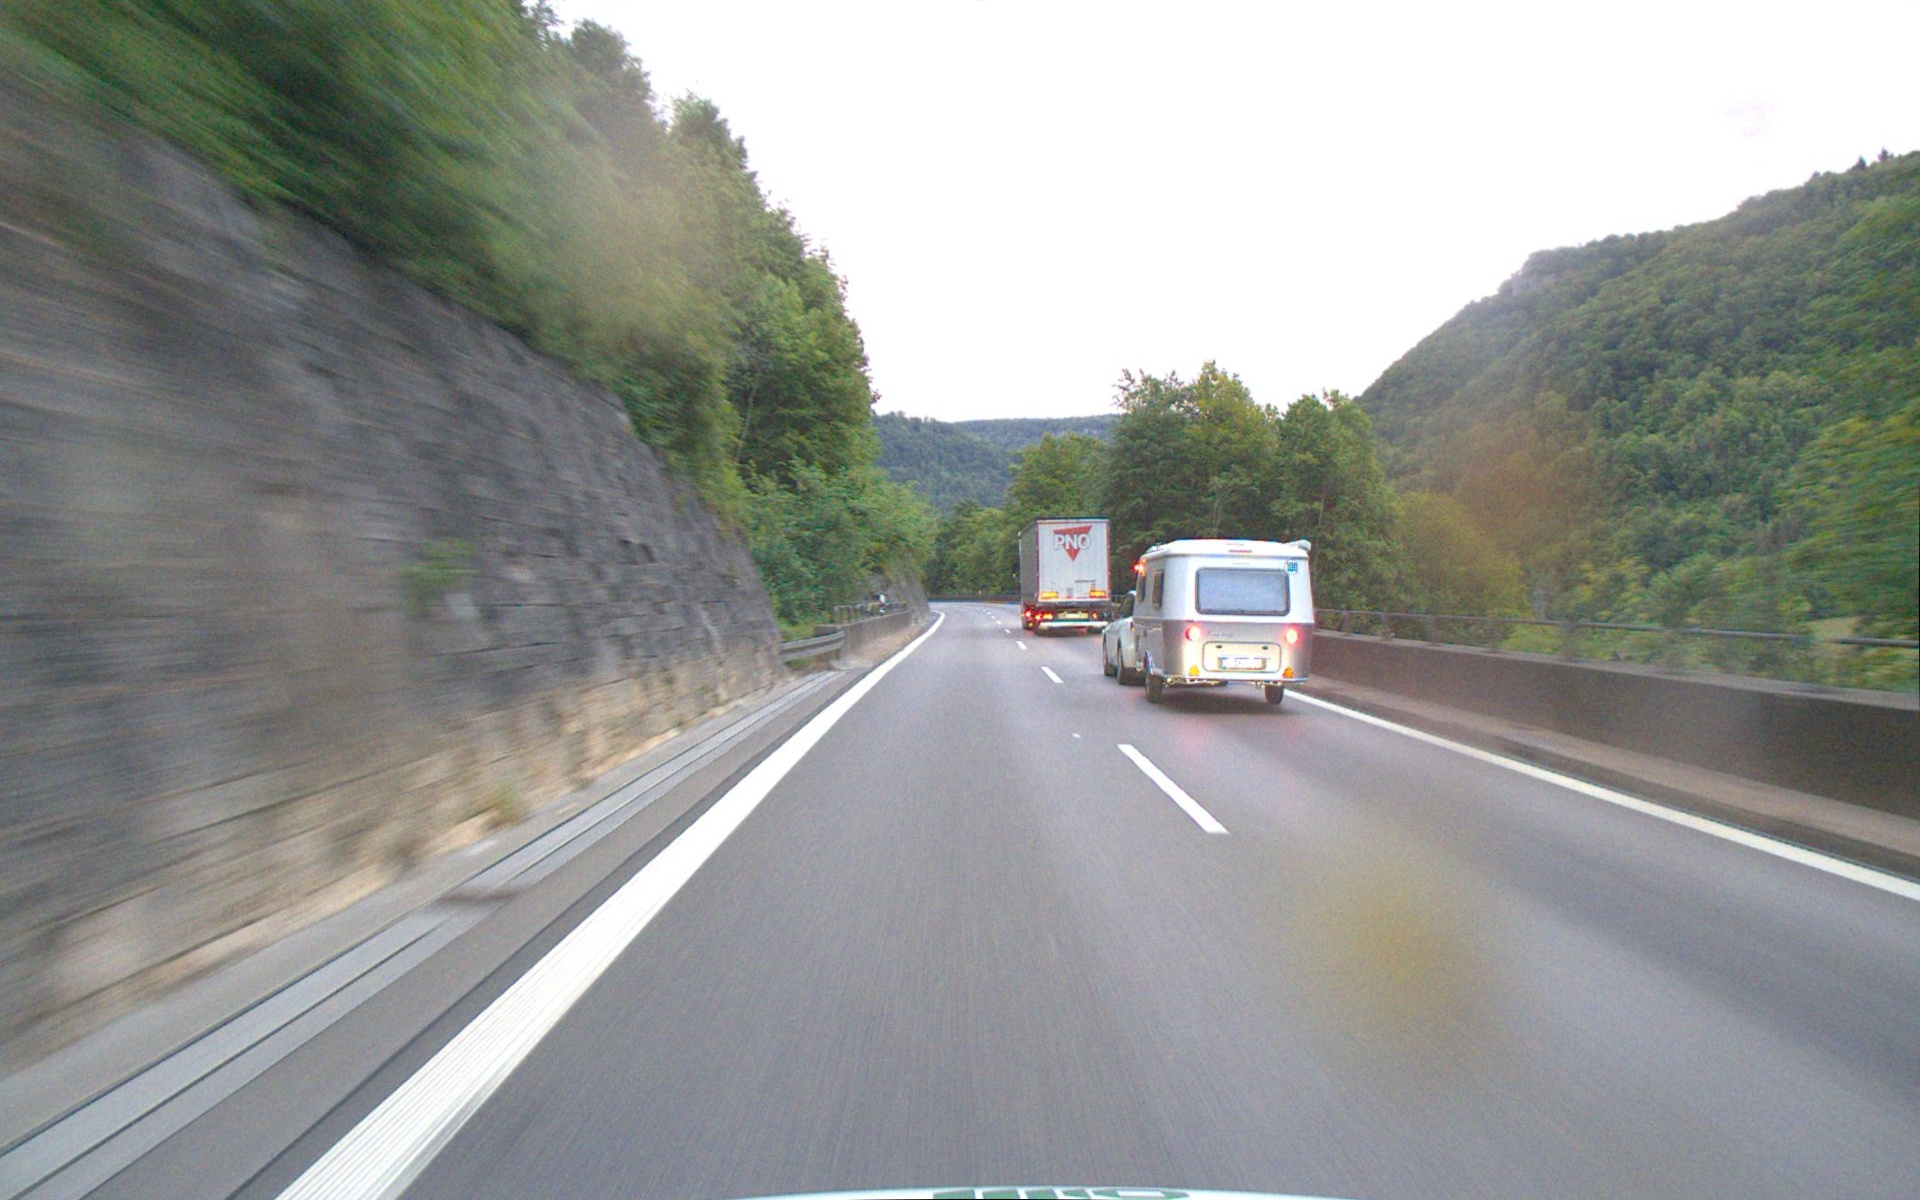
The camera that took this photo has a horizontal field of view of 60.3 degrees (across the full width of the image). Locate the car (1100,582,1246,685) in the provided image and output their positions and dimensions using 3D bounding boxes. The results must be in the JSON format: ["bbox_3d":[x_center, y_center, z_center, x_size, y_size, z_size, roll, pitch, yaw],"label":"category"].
[{"bbox_3d":[3.684,0.549,29.470,1.953,1.643,4.864,1,0,0],"label":"car"}]

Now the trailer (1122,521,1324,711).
[{"bbox_3d":[3.676,0.187,24.255,2.012,2.416,5.938,-1,0,0],"label":"trailer"}]

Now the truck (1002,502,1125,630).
[{"bbox_3d":[3.702,-1.152,63.895,3.228,4.246,16.498,-1,0,-1],"label":"truck"}]
